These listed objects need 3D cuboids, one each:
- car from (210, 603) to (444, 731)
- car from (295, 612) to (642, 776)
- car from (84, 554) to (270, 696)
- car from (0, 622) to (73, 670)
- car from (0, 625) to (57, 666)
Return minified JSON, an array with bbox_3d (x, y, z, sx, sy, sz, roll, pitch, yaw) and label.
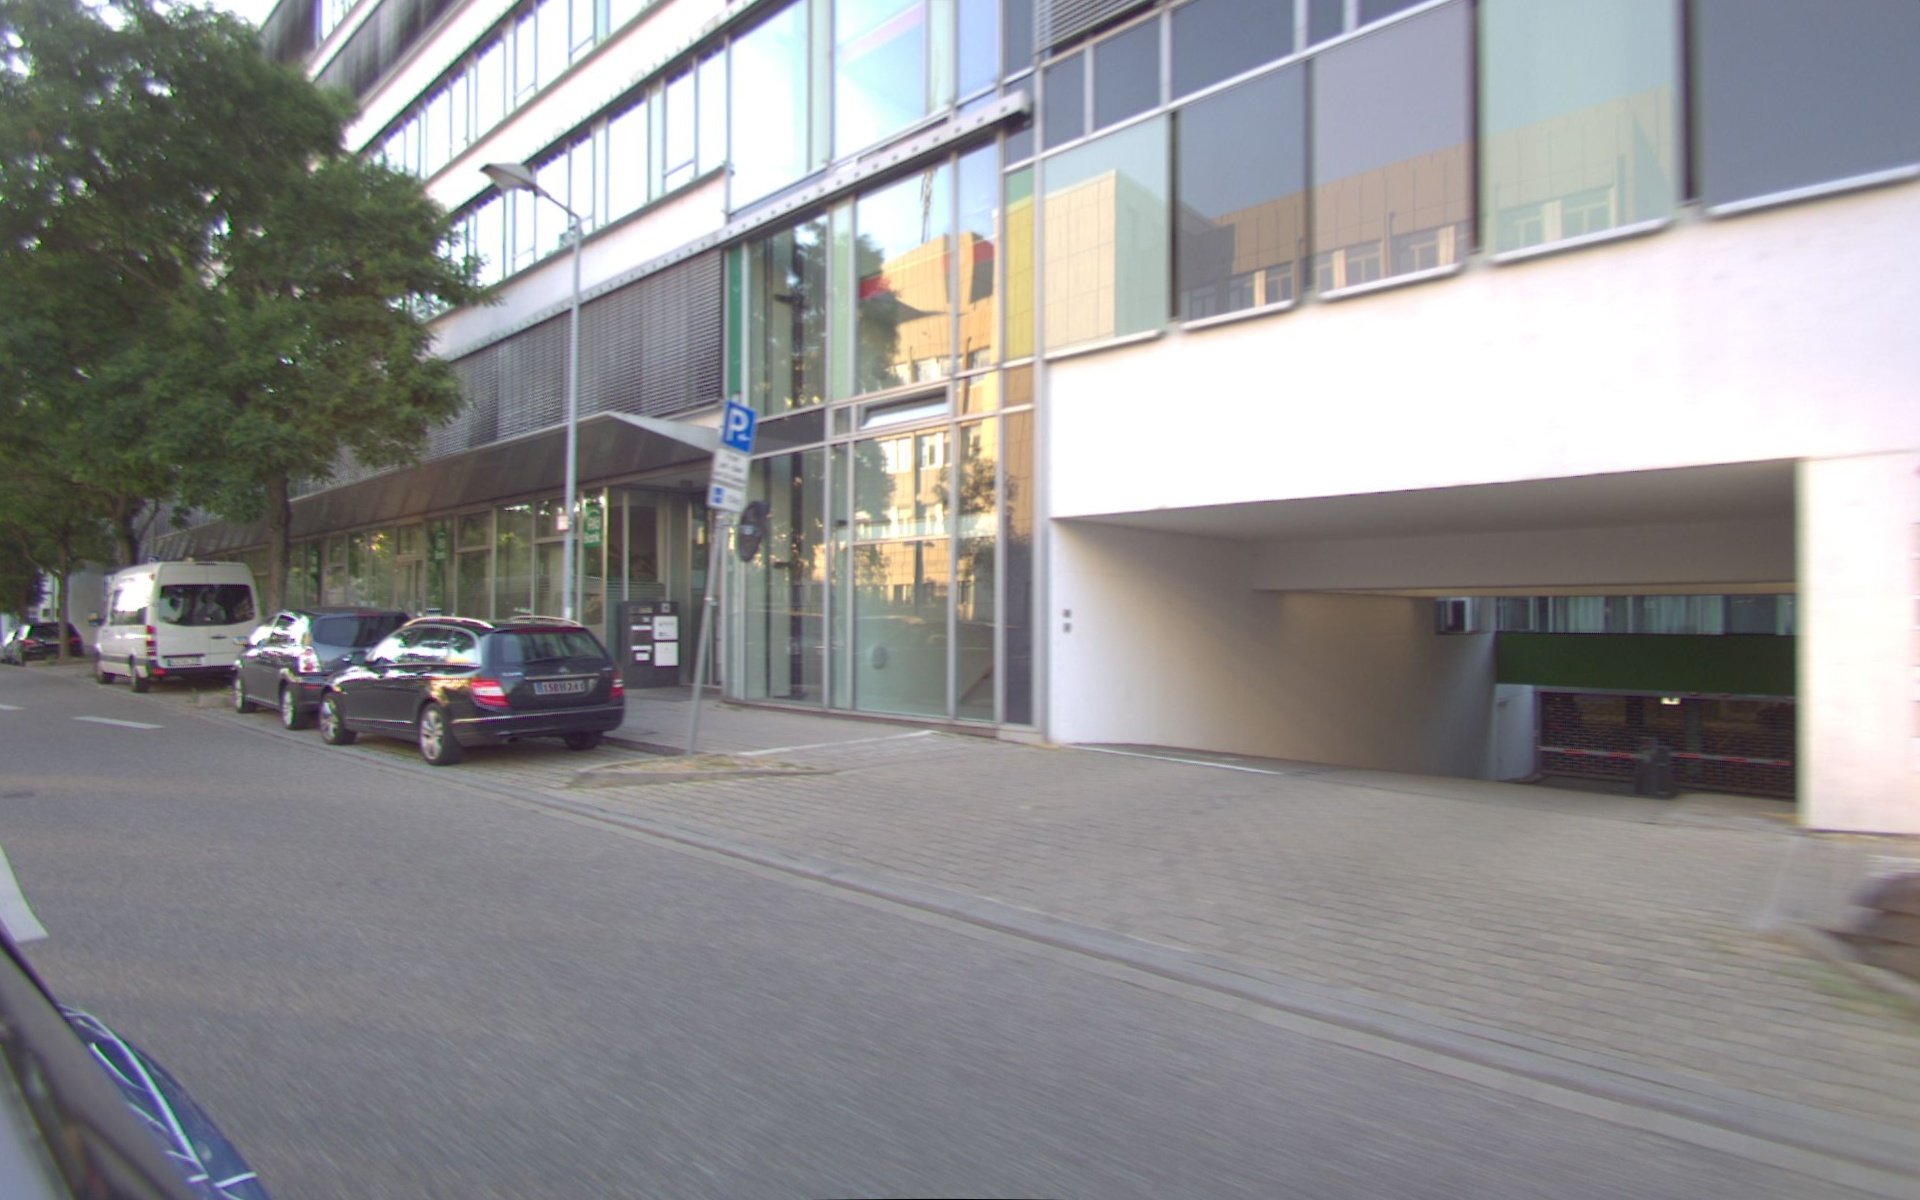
[{"bbox_3d":[-9.269,0.889,14.685,4.267,1.583,1.824,-2,-2,42],"label":"car"},{"bbox_3d":[-5.508,0.902,11.103,4.393,1.463,1.698,-2,-2,38],"label":"car"},{"bbox_3d":[-17.305,0.566,22.176,6.950,2.684,2.078,-2,-2,43],"label":"car"},{"bbox_3d":[-33.966,1.670,37.160,4.470,1.580,1.573,-2,1,42],"label":"car"},{"bbox_3d":[-37.750,1.805,40.653,4.625,1.472,1.685,-2,1,42],"label":"car"}]
